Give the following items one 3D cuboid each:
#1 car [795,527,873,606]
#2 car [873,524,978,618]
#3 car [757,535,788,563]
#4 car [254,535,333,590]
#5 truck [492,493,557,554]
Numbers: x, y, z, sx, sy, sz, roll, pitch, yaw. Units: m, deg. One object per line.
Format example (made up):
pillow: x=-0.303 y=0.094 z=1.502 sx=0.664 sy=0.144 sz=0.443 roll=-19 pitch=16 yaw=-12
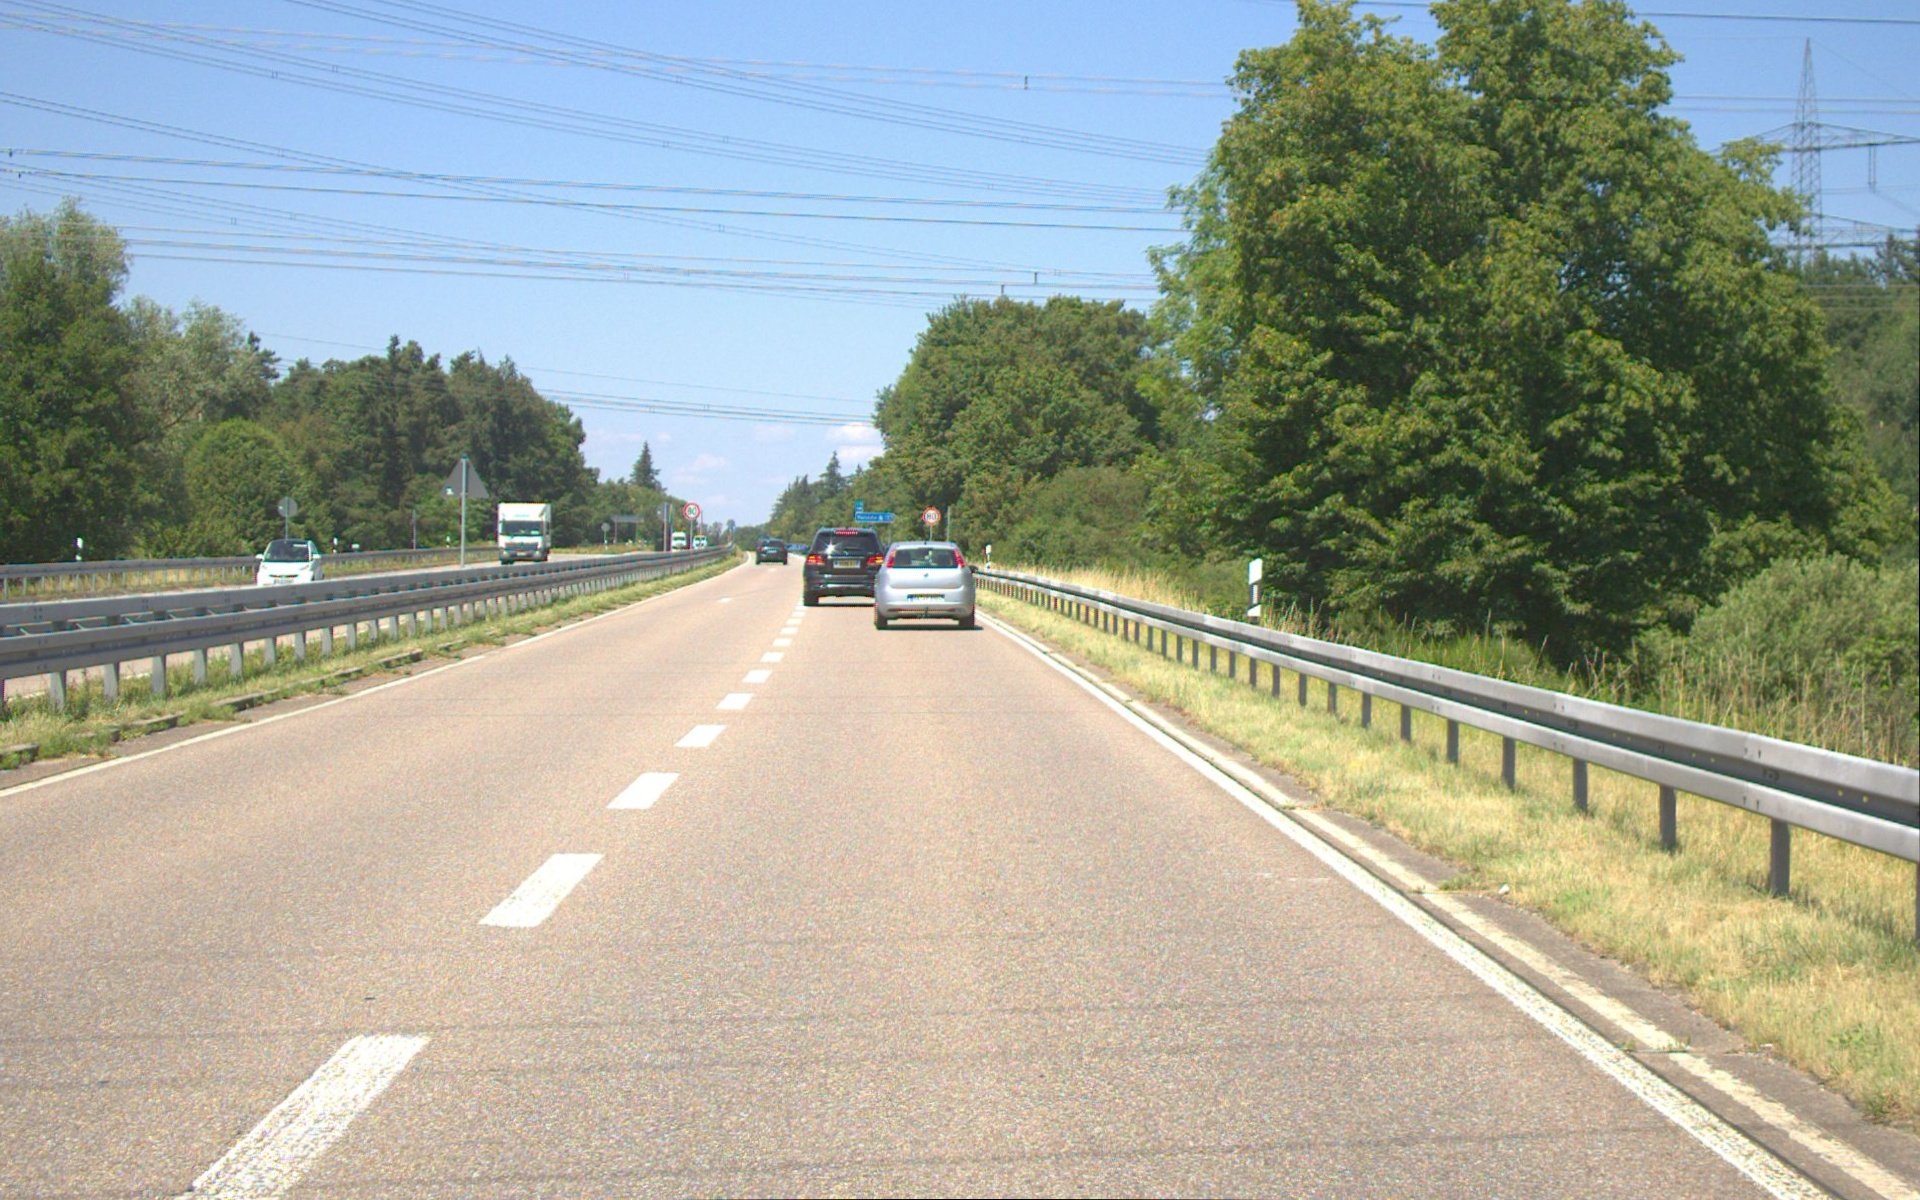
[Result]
car: x=-2.847 y=-0.767 z=77.454 sx=1.640 sy=1.648 sz=3.574 roll=3 pitch=1 yaw=-2
car: x=-0.608 y=-0.510 z=58.273 sx=1.640 sy=1.463 sz=3.419 roll=3 pitch=1 yaw=-2
car: x=-10.641 y=-2.903 z=195.135 sx=1.712 sy=1.466 sz=3.574 roll=3 pitch=1 yaw=-3
car: x=-18.265 y=-1.037 z=94.290 sx=1.533 sy=1.444 sz=3.702 roll=0 pitch=1 yaw=-2
truck: x=-23.271 y=-4.059 z=184.026 sx=2.718 sy=3.182 sz=8.406 roll=0 pitch=1 yaw=-2
